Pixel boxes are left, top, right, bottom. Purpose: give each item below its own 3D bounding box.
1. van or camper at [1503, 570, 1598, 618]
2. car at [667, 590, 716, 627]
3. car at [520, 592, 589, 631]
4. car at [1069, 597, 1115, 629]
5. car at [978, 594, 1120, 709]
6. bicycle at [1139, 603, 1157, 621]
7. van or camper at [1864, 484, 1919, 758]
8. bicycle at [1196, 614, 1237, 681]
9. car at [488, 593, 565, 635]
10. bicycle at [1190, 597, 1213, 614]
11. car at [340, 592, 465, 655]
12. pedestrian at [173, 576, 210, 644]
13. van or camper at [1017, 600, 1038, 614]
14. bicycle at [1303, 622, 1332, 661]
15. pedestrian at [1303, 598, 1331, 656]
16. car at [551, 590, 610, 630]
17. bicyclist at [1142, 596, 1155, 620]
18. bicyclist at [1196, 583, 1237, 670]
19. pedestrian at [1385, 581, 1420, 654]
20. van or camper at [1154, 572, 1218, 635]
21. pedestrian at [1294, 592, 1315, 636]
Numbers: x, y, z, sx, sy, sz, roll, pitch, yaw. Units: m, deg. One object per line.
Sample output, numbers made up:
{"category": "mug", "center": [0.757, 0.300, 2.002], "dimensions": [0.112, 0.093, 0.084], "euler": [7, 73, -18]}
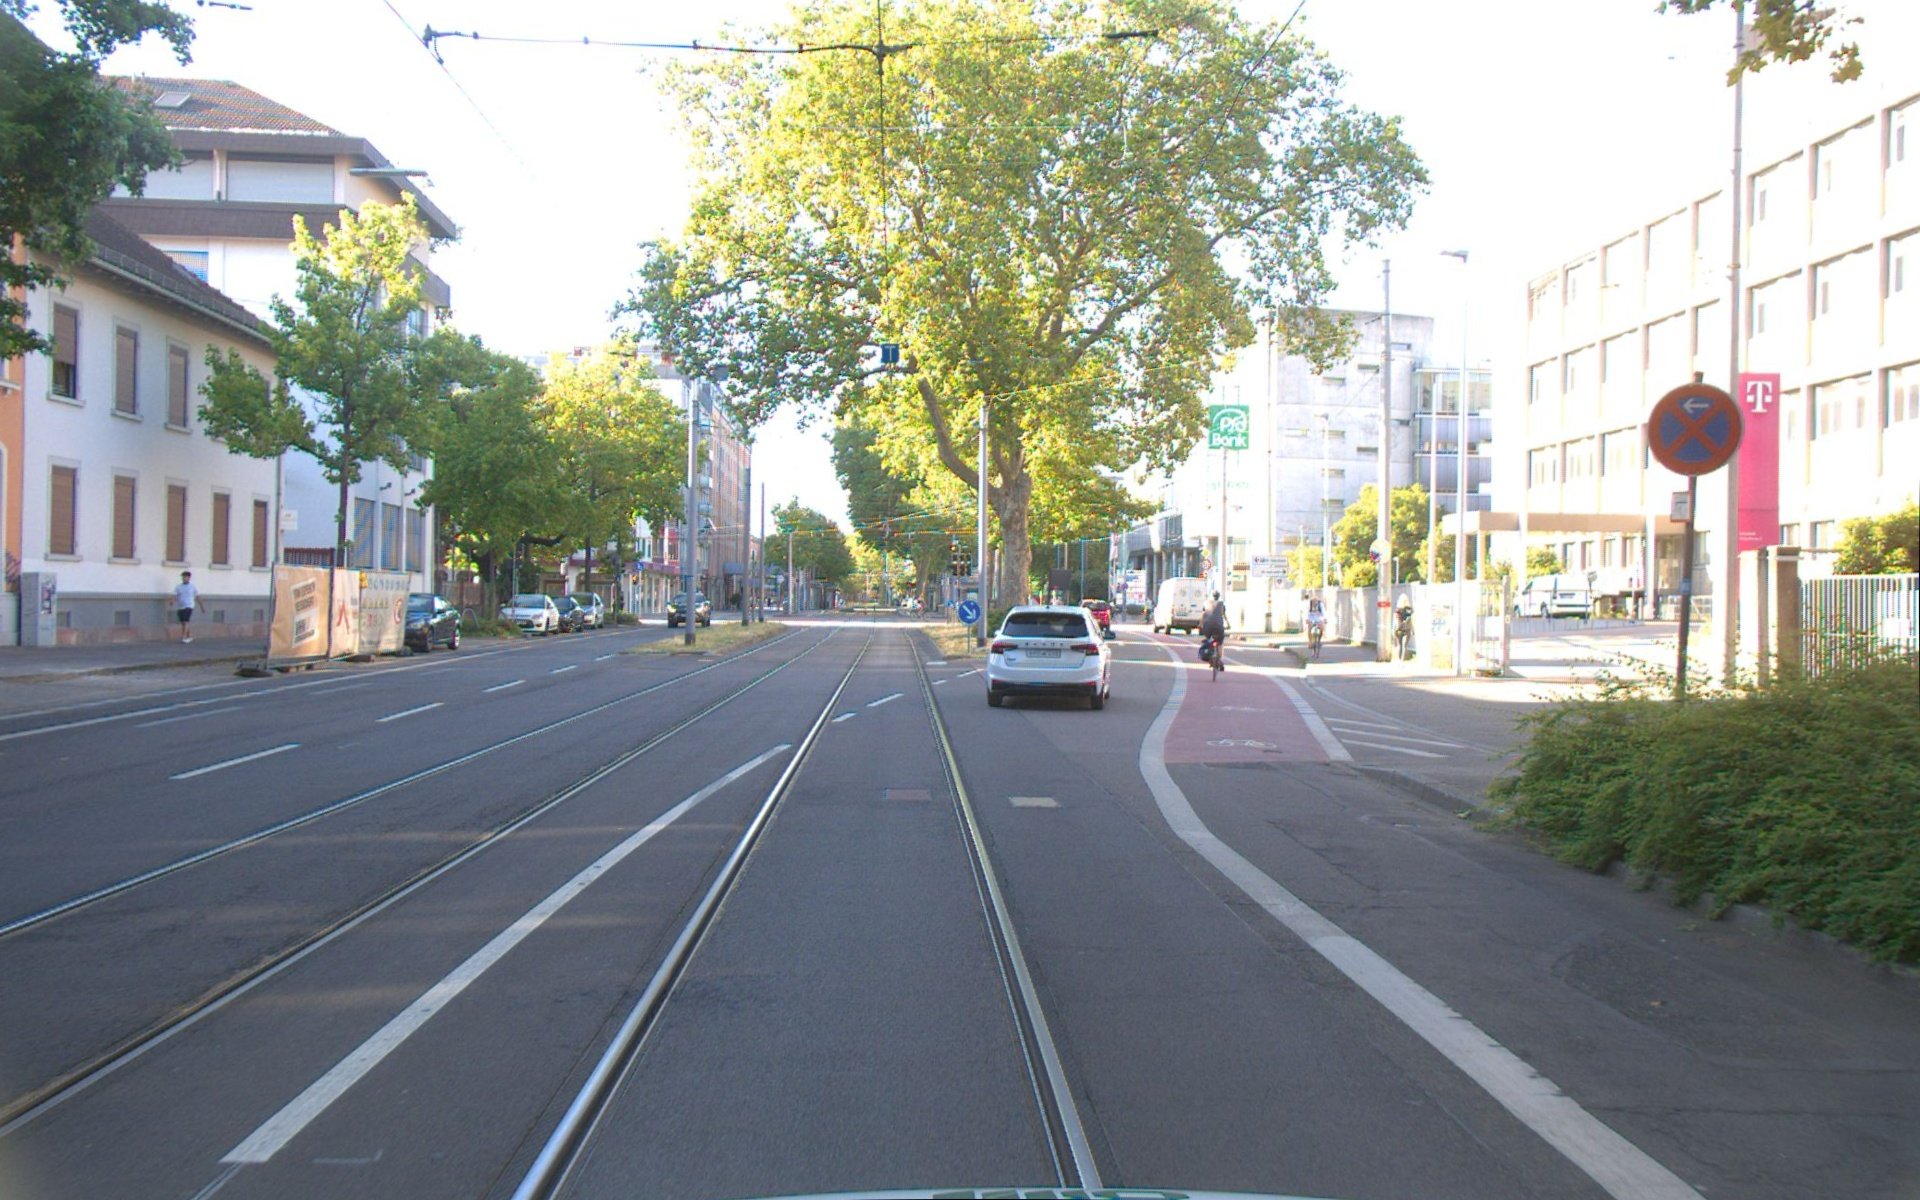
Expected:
{"category": "van or camper", "center": [24.382, -0.247, 68.489], "dimensions": [1.941, 1.942, 4.996], "euler": [0, 0, -4]}
{"category": "car", "center": [-12.662, 0.378, 78.164], "dimensions": [1.954, 1.719, 4.306], "euler": [0, 0, -5]}
{"category": "car", "center": [-16.221, 0.457, 66.315], "dimensions": [1.954, 1.502, 4.645], "euler": [0, 0, -5]}
{"category": "car", "center": [6.478, 0.619, 81.382], "dimensions": [1.802, 1.515, 3.715], "euler": [0, 0, -2]}
{"category": "car", "center": [1.414, 0.710, 24.760], "dimensions": [1.763, 1.527, 3.984], "euler": [1, 0, 8]}
{"category": "bicycle", "center": [13.057, 0.810, 114.657], "dimensions": [0.777, 1.182, 2.497], "euler": [0, 0, -4]}
{"category": "van or camper", "center": [10.161, 0.211, 13.801], "dimensions": [1.994, 2.604, 5.771], "euler": [0, 0, -1]}
{"category": "bicycle", "center": [5.139, 0.936, 33.266], "dimensions": [0.728, 1.245, 2.157], "euler": [2, 0, 8]}
{"category": "car", "center": [-15.786, 0.487, 60.413], "dimensions": [1.954, 1.496, 4.401], "euler": [0, 0, -5]}
{"category": "bicycle", "center": [21.788, 0.479, 149.235], "dimensions": [1.896, 1.468, 0.575], "euler": [0, 0, -4]}
{"category": "car", "center": [-14.488, 0.574, 43.255], "dimensions": [1.954, 1.540, 4.721], "euler": [0, 0, -4]}
{"category": "pedestrian", "center": [-18.264, 0.242, 39.322], "dimensions": [0.582, 1.598, 0.639], "euler": [0, 0, -5]}
{"category": "van or camper", "center": [8.457, 0.851, 206.939], "dimensions": [2.104, 1.781, 4.426], "euler": [0, 0, -5]}
{"category": "bicycle", "center": [10.356, 1.194, 47.951], "dimensions": [0.660, 1.050, 1.902], "euler": [-2, 0, 8]}
{"category": "pedestrian", "center": [10.351, 0.785, 47.998], "dimensions": [0.655, 1.647, 1.103], "euler": [-2, 0, 6]}
{"category": "car", "center": [-16.768, 0.426, 73.177], "dimensions": [1.954, 1.719, 4.174], "euler": [0, 0, -5]}
{"category": "bicyclist", "center": [13.069, 0.532, 114.520], "dimensions": [0.770, 1.663, 0.638], "euler": [0, 0, -5]}
{"category": "bicyclist", "center": [5.138, 0.527, 33.194], "dimensions": [0.727, 1.698, 0.745], "euler": [2, 0, 7]}
{"category": "pedestrian", "center": [10.501, 0.400, 39.237], "dimensions": [0.681, 1.713, 0.930], "euler": [0, 0, 21]}
{"category": "van or camper", "center": [10.757, 0.161, 79.084], "dimensions": [2.222, 2.781, 6.348], "euler": [3, 0, 1]}
{"category": "pedestrian", "center": [14.105, 0.580, 67.724], "dimensions": [0.769, 1.779, 0.772], "euler": [0, 0, 7]}
